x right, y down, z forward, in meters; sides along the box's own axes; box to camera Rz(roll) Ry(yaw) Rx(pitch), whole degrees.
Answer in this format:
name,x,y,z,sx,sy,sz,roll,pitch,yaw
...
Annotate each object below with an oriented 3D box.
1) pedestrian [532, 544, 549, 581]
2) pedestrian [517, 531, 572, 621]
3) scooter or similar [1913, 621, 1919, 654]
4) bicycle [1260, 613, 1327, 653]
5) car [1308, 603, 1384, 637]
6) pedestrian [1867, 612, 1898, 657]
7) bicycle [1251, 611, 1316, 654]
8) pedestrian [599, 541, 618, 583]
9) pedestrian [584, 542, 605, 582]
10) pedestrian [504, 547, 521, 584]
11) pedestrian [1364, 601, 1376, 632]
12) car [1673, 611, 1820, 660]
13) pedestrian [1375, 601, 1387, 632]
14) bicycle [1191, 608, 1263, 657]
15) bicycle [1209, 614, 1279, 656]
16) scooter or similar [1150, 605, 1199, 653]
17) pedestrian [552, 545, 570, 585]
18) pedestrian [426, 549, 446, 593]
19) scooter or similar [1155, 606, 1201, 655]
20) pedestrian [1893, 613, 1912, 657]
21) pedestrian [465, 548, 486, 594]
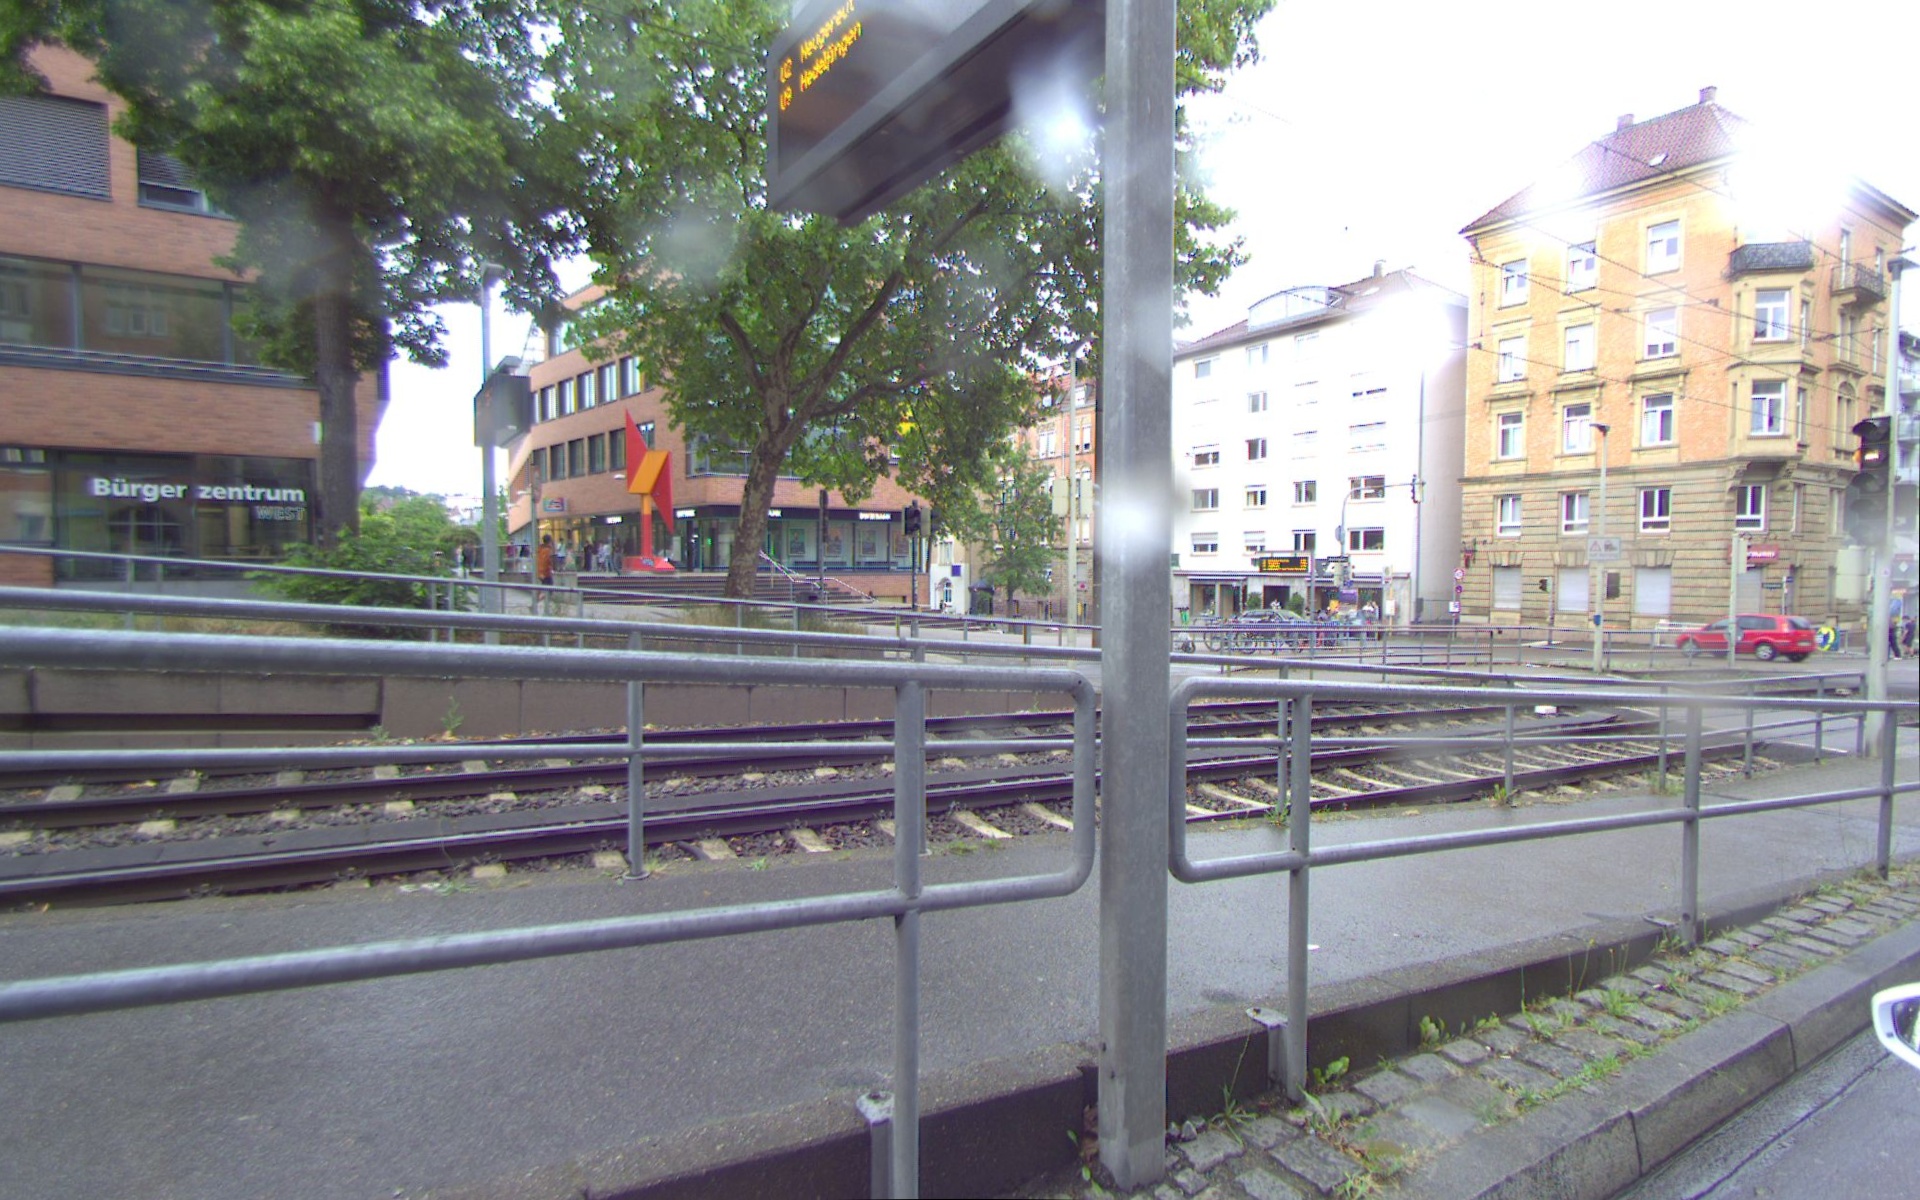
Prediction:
name,x,y,z,sx,sy,sz,roll,pitch,yaw
pedestrian,-24.028,-2.144,57.478,0.710,2.041,0.713,1,1,-37
pedestrian,-9.650,-0.550,23.329,0.973,2.041,0.726,1,1,-41
scooter or similar,37.556,1.454,38.957,0.825,1.288,0.323,1,1,42
bicycle,9.863,0.968,29.777,0.514,1.079,1.852,1,1,-43
car,18.839,0.952,49.052,1.415,1.509,3.119,0,2,-45
pedestrian,35.422,1.316,38.576,0.667,1.683,0.676,1,0,-26
bicycle,9.379,0.941,29.177,0.514,1.158,1.750,1,1,-43
pedestrian,-17.594,-1.883,50.301,0.711,2.040,0.713,1,0,-38
pedestrian,-18.614,-1.923,51.151,0.707,2.040,0.716,1,0,45
pedestrian,-25.281,-1.963,56.789,0.711,2.040,0.713,1,0,-38
pedestrian,22.189,0.892,54.339,0.507,1.643,0.486,2,1,18
car,26.609,1.161,34.115,1.659,1.509,3.597,1,0,-19
pedestrian,22.685,0.899,54.155,0.507,1.643,0.486,2,1,18
bicycle,7.181,0.853,27.058,0.514,1.211,1.852,1,1,-43
bicycle,7.851,0.956,27.845,0.514,1.076,1.852,1,1,-44
scooter or similar,5.666,0.771,26.566,1.226,1.211,0.299,2,1,6
pedestrian,-20.917,-1.811,52.672,0.711,2.040,0.713,1,0,-38
pedestrian,-24.611,-1.367,47.145,0.711,2.040,0.713,1,0,-38
scooter or similar,5.634,0.790,25.965,1.090,1.211,0.362,2,1,6
pedestrian,37.090,1.369,39.526,0.512,1.688,0.474,1,0,42
pedestrian,-22.011,-1.305,45.613,0.711,2.040,0.713,1,0,-38
